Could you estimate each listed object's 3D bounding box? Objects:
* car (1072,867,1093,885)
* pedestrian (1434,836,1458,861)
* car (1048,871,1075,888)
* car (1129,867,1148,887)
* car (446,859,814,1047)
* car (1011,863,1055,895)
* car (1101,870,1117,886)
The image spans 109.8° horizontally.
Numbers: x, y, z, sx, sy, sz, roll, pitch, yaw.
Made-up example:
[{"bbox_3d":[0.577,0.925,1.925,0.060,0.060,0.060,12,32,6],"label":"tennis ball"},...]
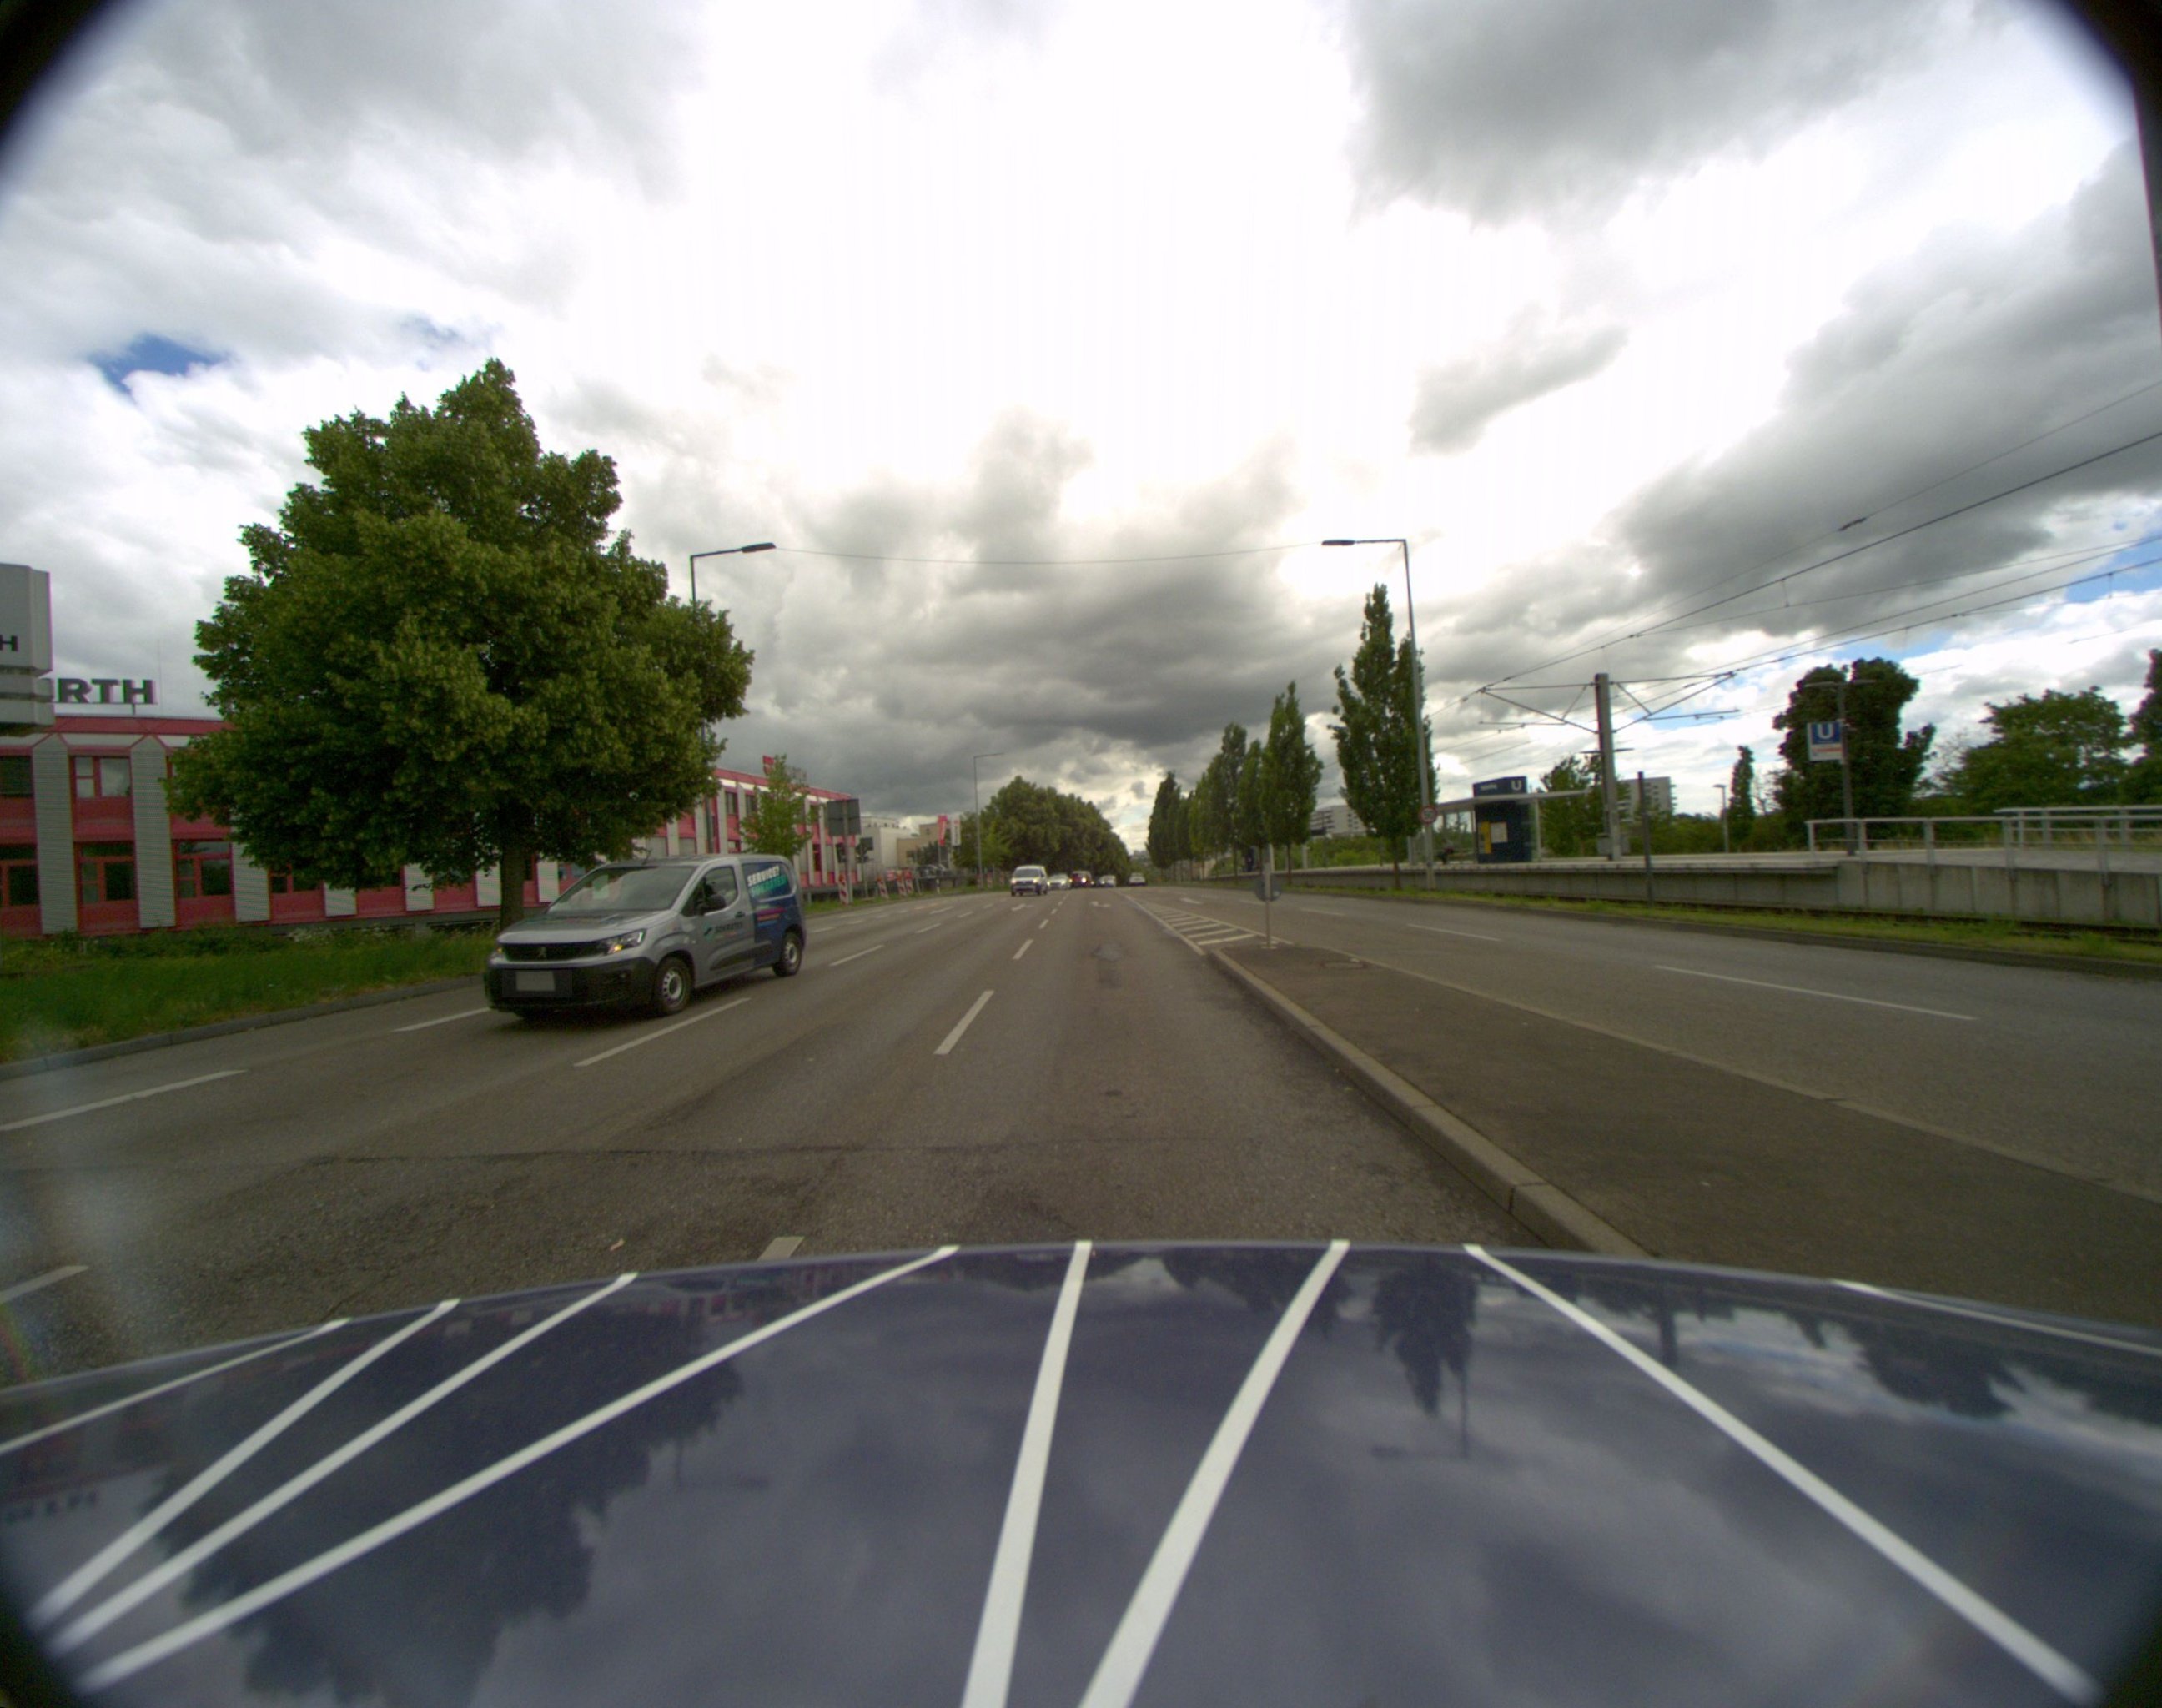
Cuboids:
[{"bbox_3d":[0.144,2.593,87.801,2.184,1.893,4.456,-2,-3,-1],"label":"car"},{"bbox_3d":[17.721,-0.262,36.883,0.751,1.169,0.837,-2,1,0],"label":"pedestrian"},{"bbox_3d":[-1.691,2.296,67.359,1.812,1.332,4.226,-2,-3,6],"label":"car"},{"bbox_3d":[6.662,2.632,87.705,1.998,2.002,4.000,-2,0,3],"label":"car"},{"bbox_3d":[-5.197,1.000,9.583,1.813,1.769,4.223,-2,0,5],"label":"car"},{"bbox_3d":[-2.874,1.477,46.103,1.812,1.781,4.699,-2,-1,6],"label":"car"},{"bbox_3d":[4.034,3.407,108.256,1.949,1.895,5.239,-2,0,5],"label":"car"}]
